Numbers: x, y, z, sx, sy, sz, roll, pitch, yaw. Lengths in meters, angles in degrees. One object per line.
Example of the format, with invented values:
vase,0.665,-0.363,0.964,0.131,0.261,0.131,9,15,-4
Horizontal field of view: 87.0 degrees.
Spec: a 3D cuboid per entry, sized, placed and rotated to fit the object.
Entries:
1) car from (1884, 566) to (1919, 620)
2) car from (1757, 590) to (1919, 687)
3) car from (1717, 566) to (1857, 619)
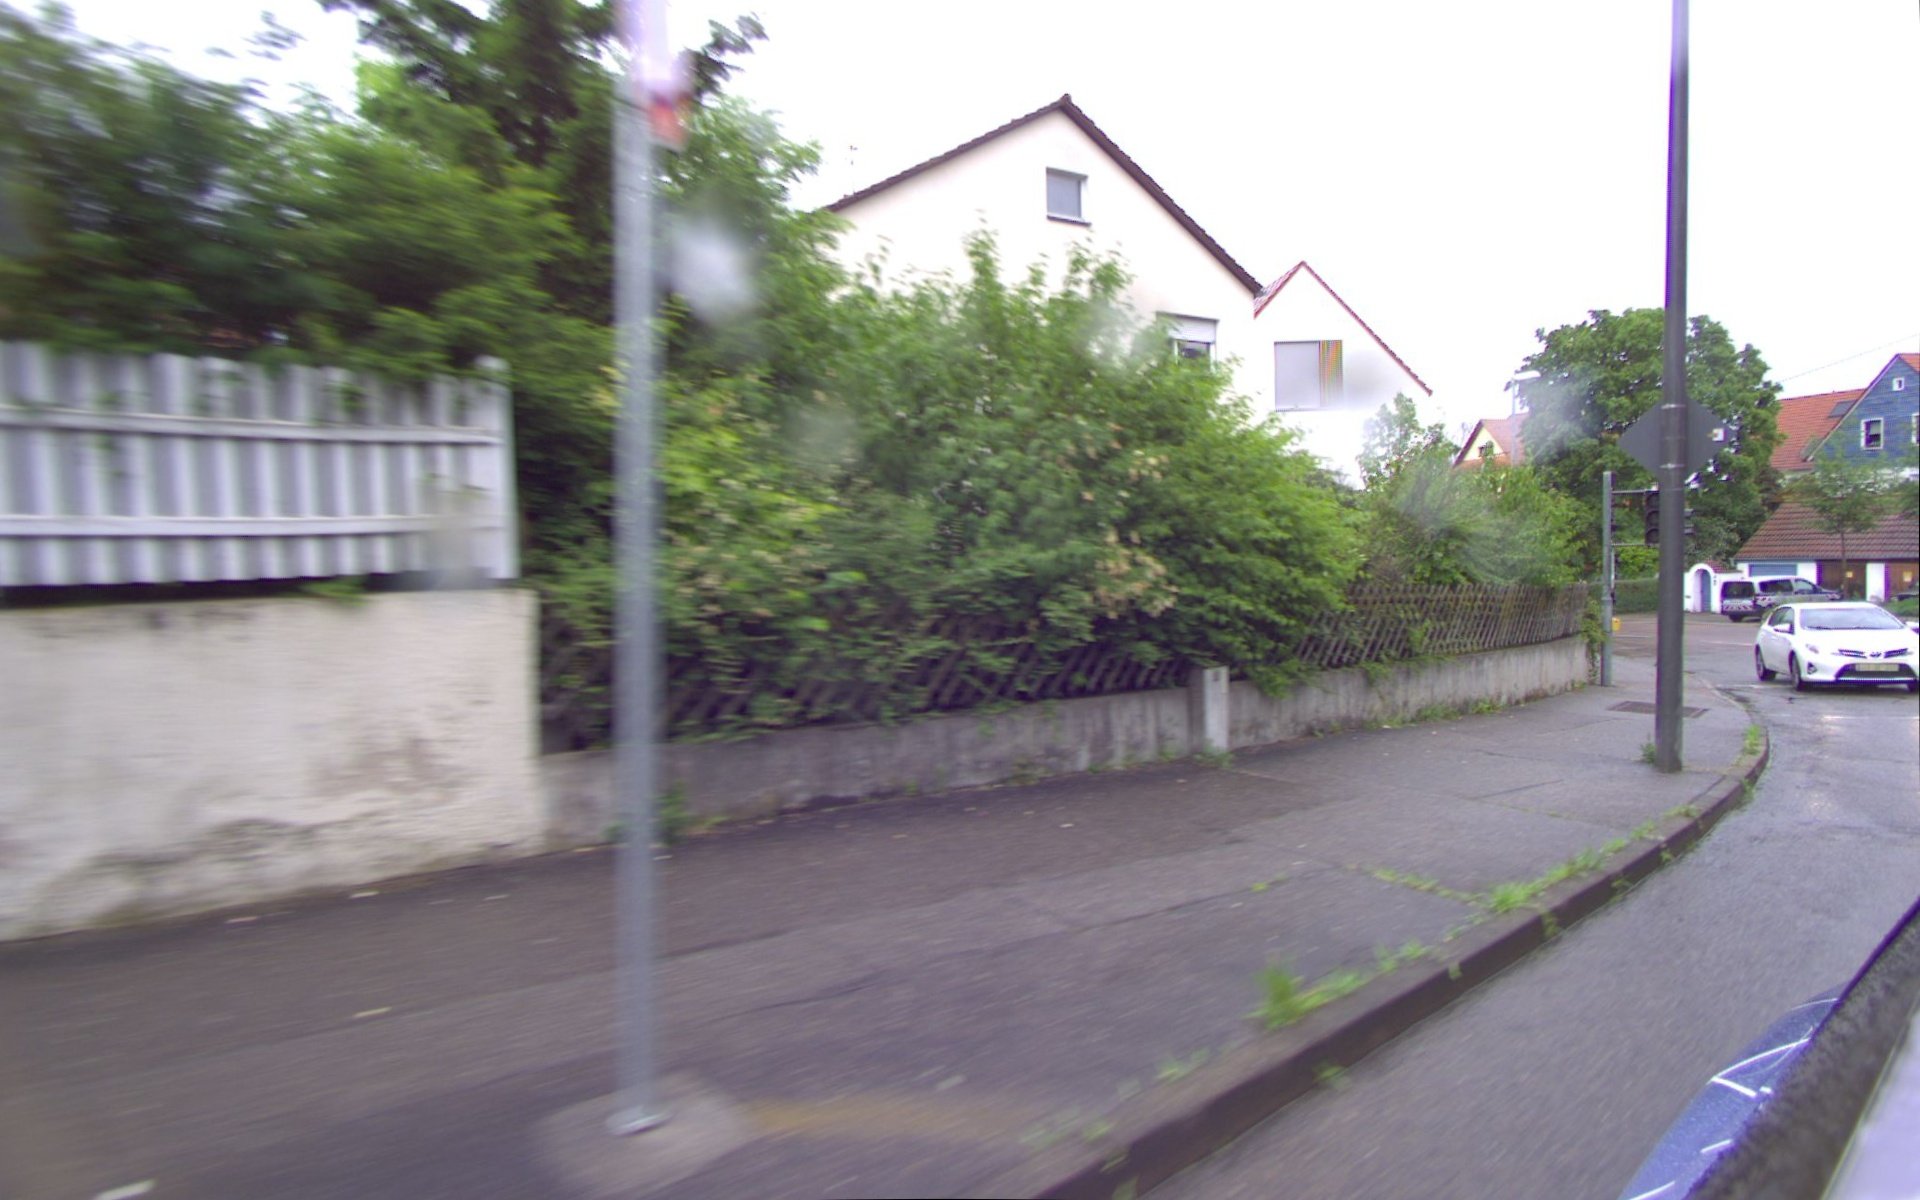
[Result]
car,34.688,-0.348,35.258,4.005,1.796,1.802,-4,0,-16
car,15.624,0.613,17.782,1.844,1.454,3.975,-5,-2,29
car,33.568,-0.302,41.142,4.038,1.822,2.002,-4,0,-5
